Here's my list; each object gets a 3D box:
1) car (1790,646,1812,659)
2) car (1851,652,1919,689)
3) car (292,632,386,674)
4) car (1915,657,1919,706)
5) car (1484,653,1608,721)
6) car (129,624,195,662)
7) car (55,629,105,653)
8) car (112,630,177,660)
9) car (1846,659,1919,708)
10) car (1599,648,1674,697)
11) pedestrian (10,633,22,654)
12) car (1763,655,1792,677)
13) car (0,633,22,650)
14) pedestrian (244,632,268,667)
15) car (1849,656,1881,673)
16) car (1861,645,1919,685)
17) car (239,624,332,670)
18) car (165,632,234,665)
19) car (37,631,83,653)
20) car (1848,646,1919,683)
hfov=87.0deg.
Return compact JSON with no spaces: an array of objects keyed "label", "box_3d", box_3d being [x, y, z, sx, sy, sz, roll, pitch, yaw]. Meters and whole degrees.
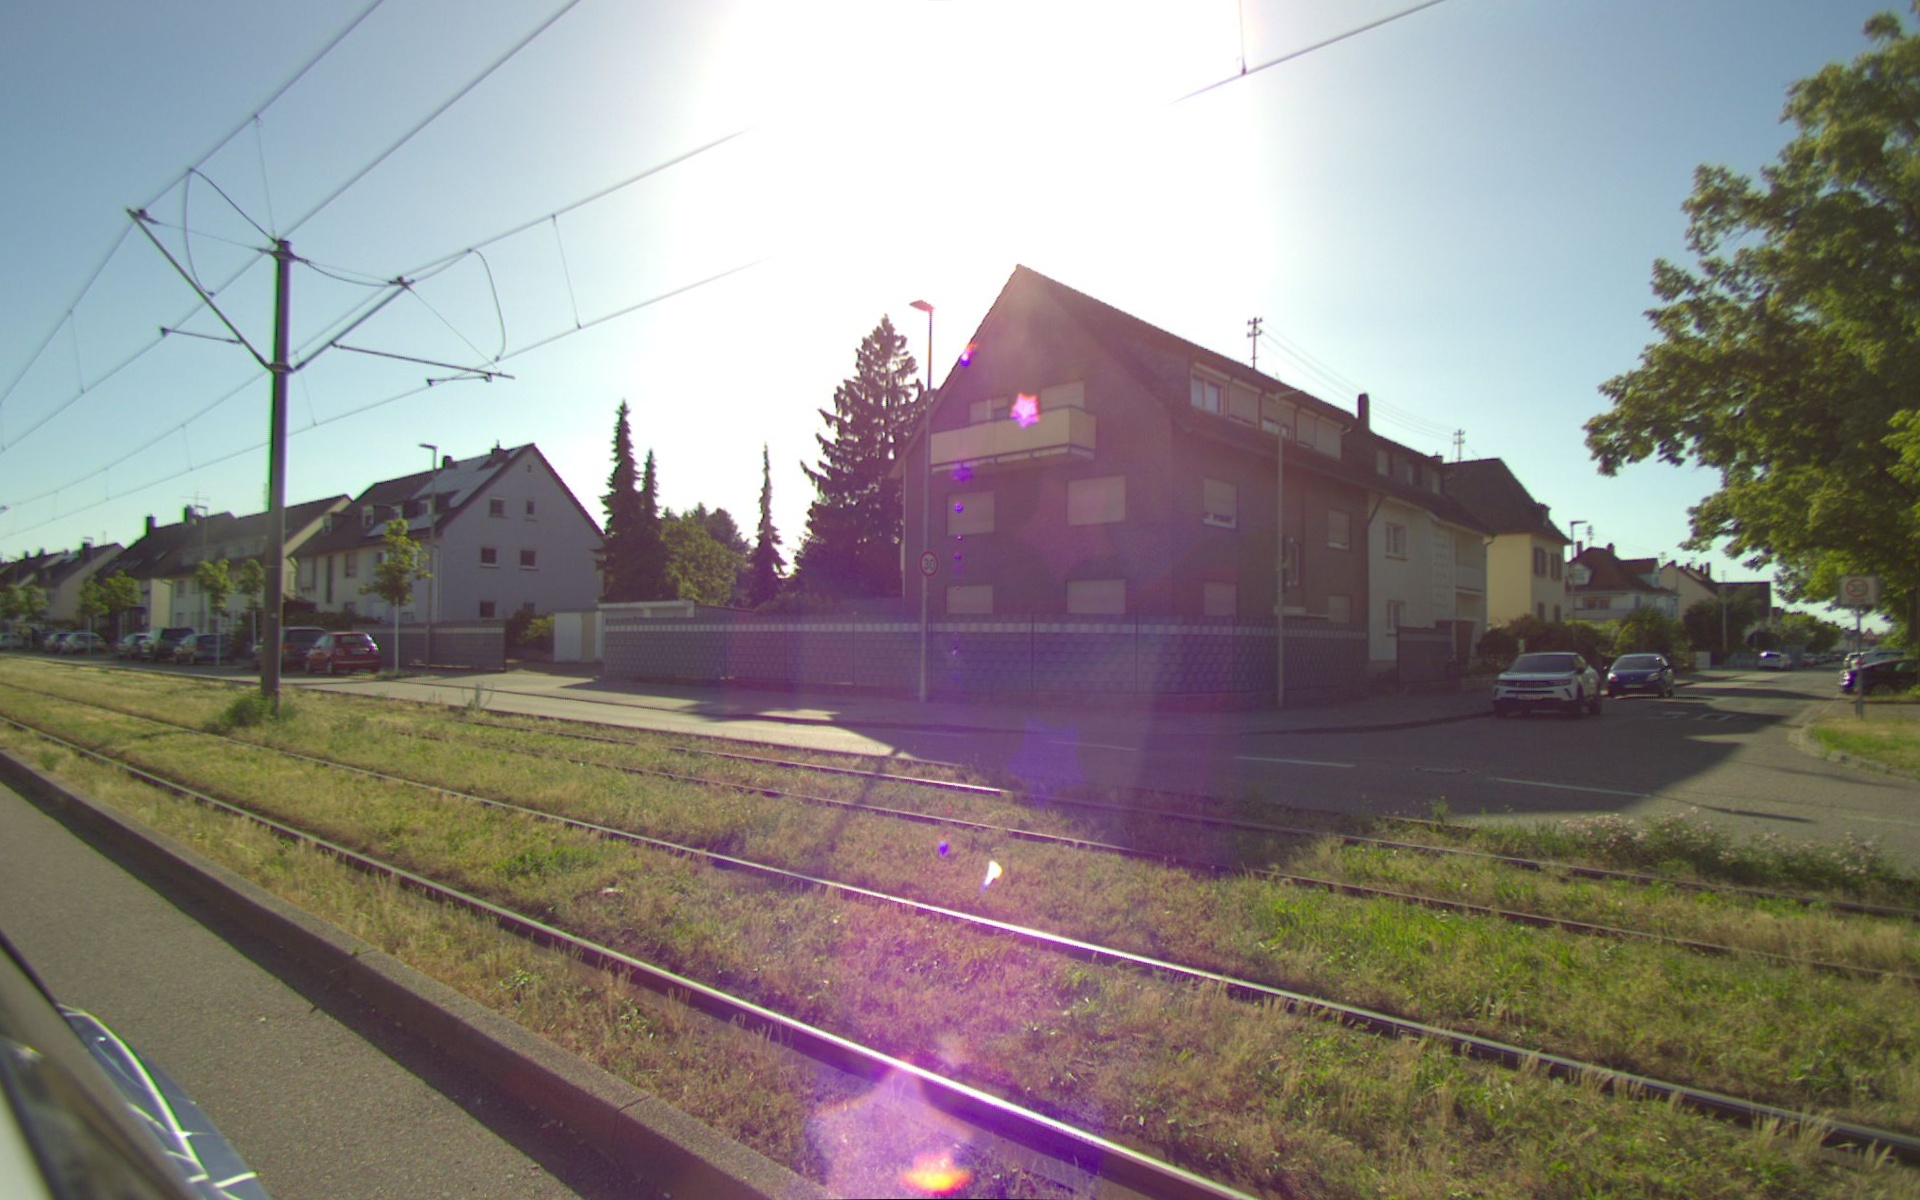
[{"label":"car","box_3d":[92.477,5.788,111.270,3.227,1.343,1.436,1,-2,-44]},{"label":"car","box_3d":[40.466,2.994,42.927,1.703,1.496,3.832,1,-3,-44]},{"label":"car","box_3d":[-22.316,1.891,36.308,4.076,1.415,1.678,-2,-4,41]},{"label":"car","box_3d":[32.400,2.579,31.681,1.454,1.543,3.401,1,-3,-38]},{"label":"car","box_3d":[13.978,2.025,24.053,1.838,1.440,3.821,-4,-4,40]},{"label":"car","box_3d":[-41.113,2.186,52.086,4.837,1.837,1.727,-2,-2,40]},{"label":"car","box_3d":[-57.919,2.657,66.592,4.437,1.487,1.672,-1,-2,38]},{"label":"car","box_3d":[-44.978,2.437,55.768,4.553,1.552,1.940,-1,-2,40]},{"label":"car","box_3d":[29.047,2.499,30.448,1.627,1.421,3.326,1,-3,-38]},{"label":"car","box_3d":[23.238,2.446,34.724,1.724,1.473,3.581,-1,-2,40]},{"label":"pedestrian","box_3d":[-84.668,3.886,90.735,0.676,1.829,0.611,-1,-2,30]},{"label":"car","box_3d":[70.800,5.689,87.647,3.904,1.678,1.462,1,-2,-44]},{"label":"car","box_3d":[-80.571,3.502,85.245,4.097,1.447,1.642,-2,-3,38]},{"label":"pedestrian","box_3d":[-33.846,2.351,48.657,0.918,1.652,0.689,-1,-2,38]},{"label":"car","box_3d":[77.019,5.484,86.122,3.227,1.343,1.758,1,-2,-44]},{"label":"car","box_3d":[42.377,2.841,44.326,1.824,1.688,4.166,1,-3,-44]},{"label":"car","box_3d":[-26.548,1.822,39.749,4.842,1.697,1.801,-2,-2,41]},{"label":"car","box_3d":[-36.368,2.303,48.378,4.044,1.502,1.660,-2,-2,38]},{"label":"car","box_3d":[-62.737,2.922,70.551,4.309,1.484,1.672,-1,-2,38]},{"label":"car","box_3d":[43.639,2.955,46.599,3.997,1.629,1.607,-3,-3,40]}]
